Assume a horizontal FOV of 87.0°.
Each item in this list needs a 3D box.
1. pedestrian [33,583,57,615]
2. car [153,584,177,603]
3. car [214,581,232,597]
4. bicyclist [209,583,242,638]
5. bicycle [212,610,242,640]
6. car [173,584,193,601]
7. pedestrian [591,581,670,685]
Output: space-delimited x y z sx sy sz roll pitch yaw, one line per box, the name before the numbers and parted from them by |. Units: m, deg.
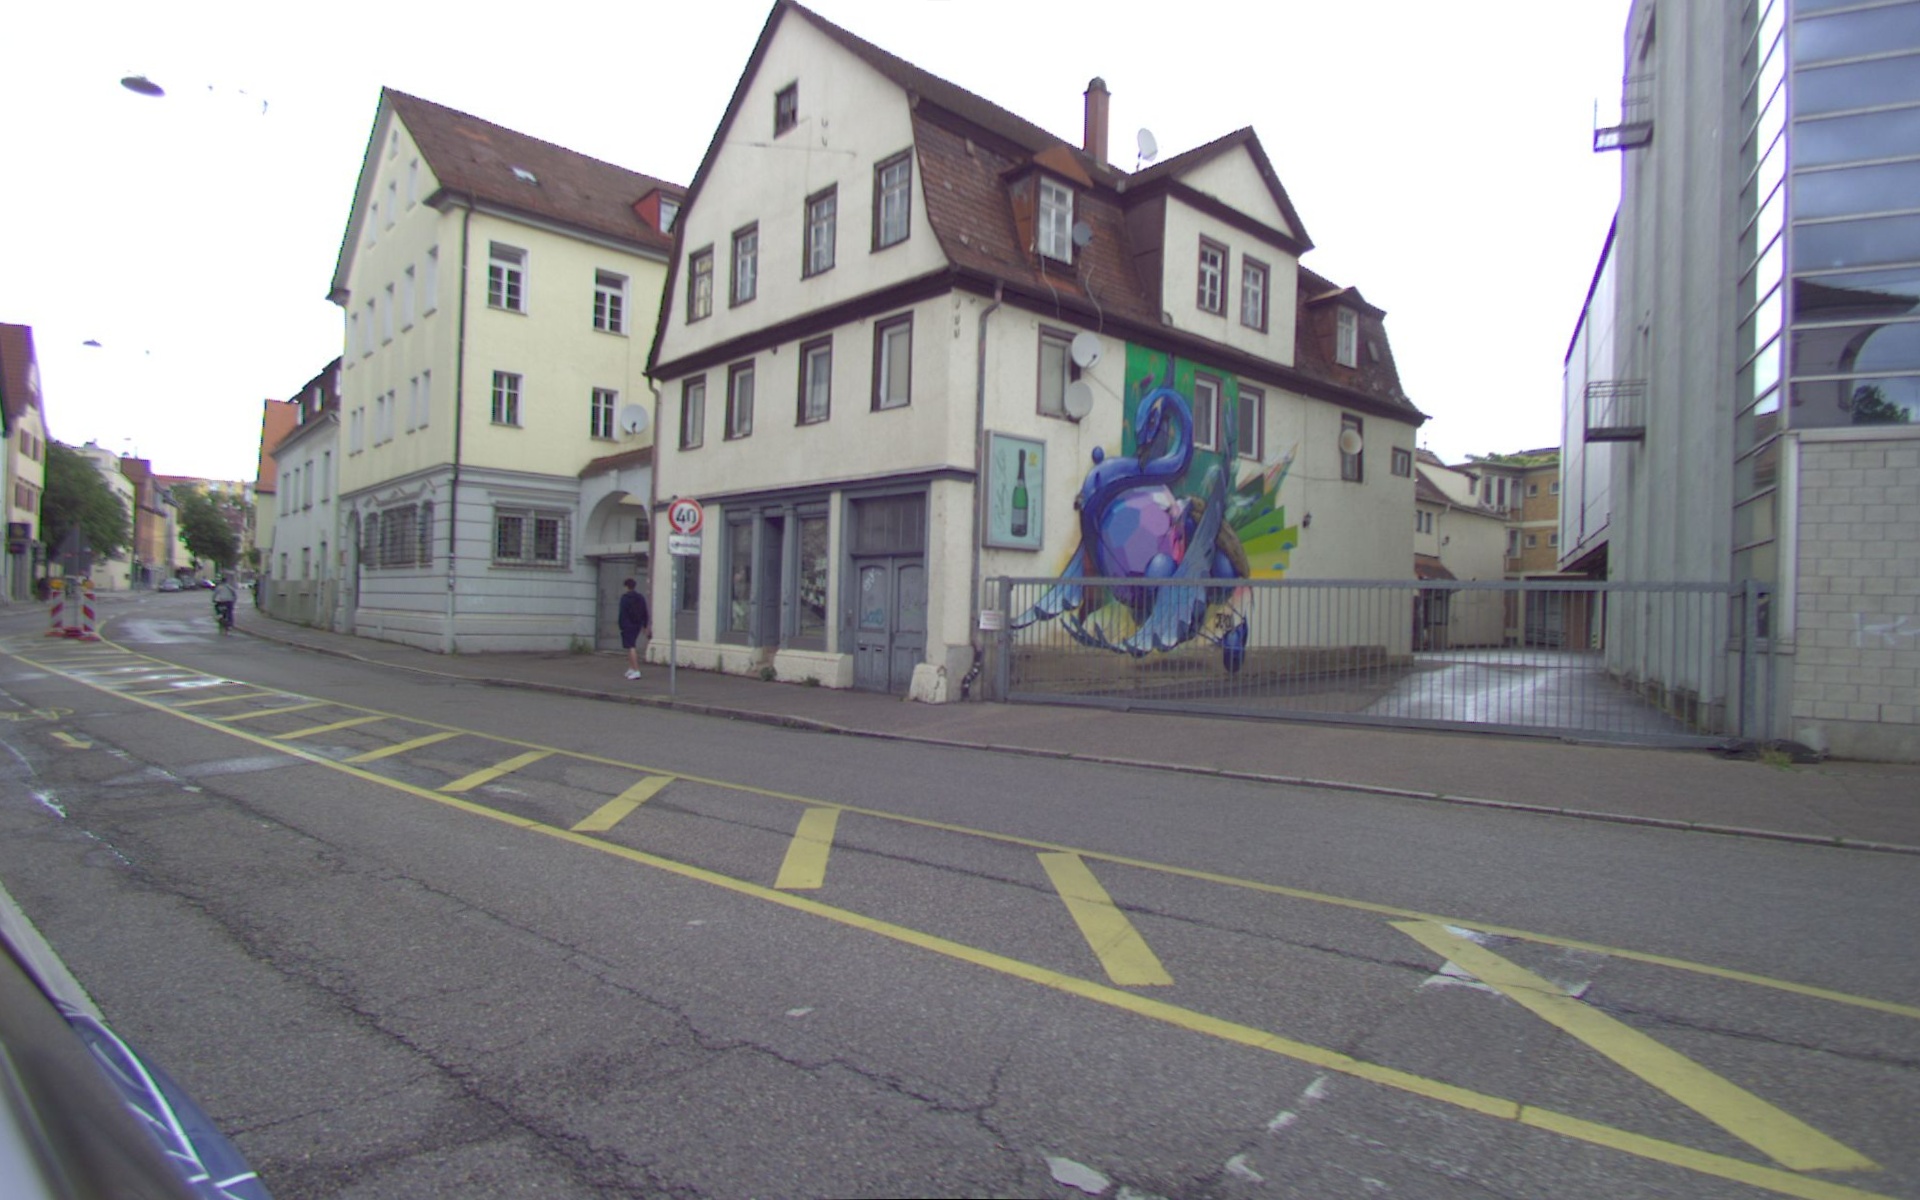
pedestrian | -55.860 -0.080 61.767 0.896 1.914 0.867 0 -2 38
car | -90.216 -0.721 114.924 1.967 2.029 4.009 2 -2 -37
car | -99.112 -1.442 136.078 1.967 2.029 4.009 2 -2 -37
bicyclist | -23.255 0.332 32.030 0.714 1.714 0.812 3 -2 -43
bicycle | -23.154 0.791 31.965 0.534 0.899 1.882 2 -2 -43
car | -102.004 -0.947 132.933 1.967 2.029 4.009 2 -2 -37
pedestrian | -6.240 0.616 19.179 1.092 1.900 1.042 -2 -2 44
